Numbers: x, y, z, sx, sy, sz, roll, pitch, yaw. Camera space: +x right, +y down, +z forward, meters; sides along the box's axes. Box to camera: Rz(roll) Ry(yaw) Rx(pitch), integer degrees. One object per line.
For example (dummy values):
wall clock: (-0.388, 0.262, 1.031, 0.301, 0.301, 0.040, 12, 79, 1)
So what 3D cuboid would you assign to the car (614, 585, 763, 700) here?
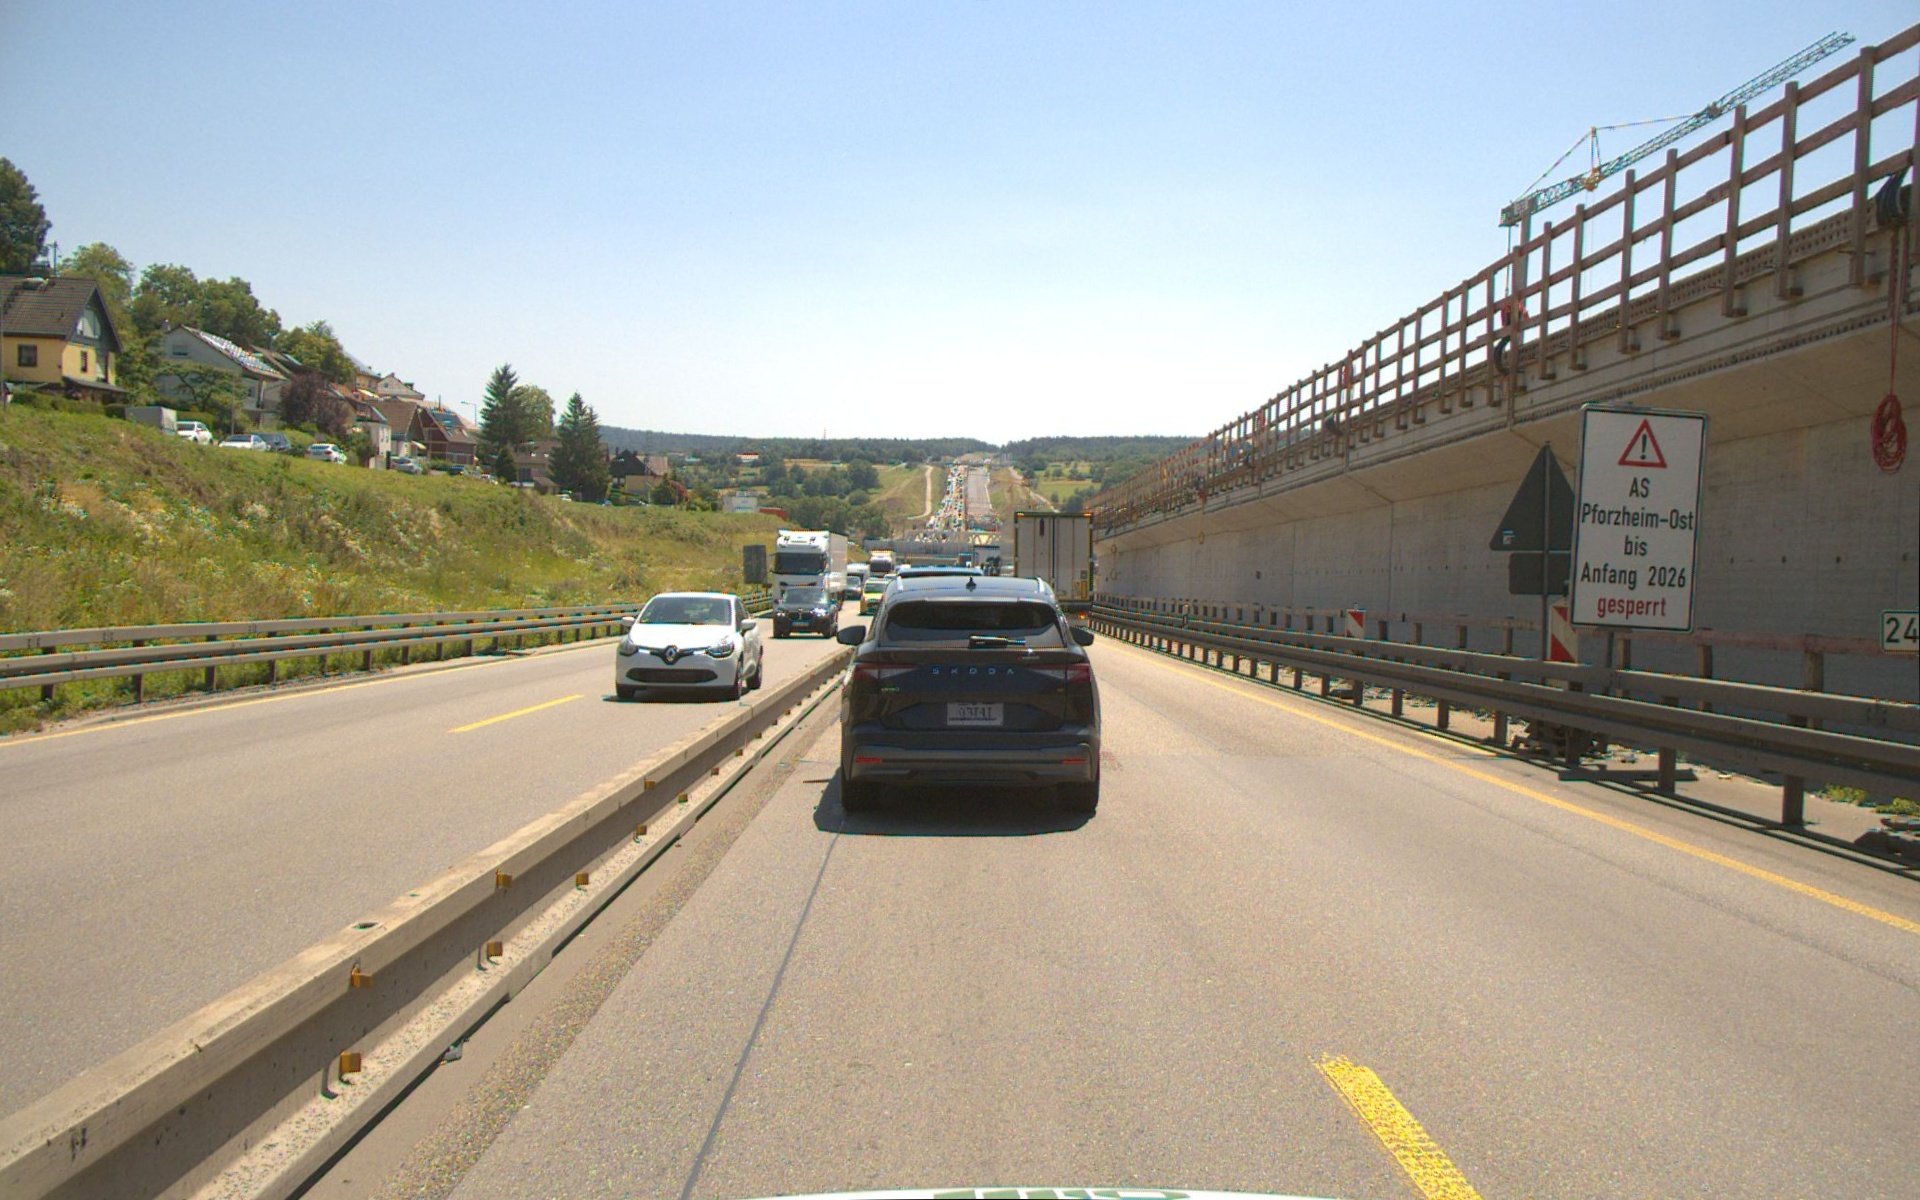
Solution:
car: (-3.835, 0.562, 23.913, 1.657, 1.512, 3.748, 1, 0, -2)

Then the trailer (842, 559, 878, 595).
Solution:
trailer: (-7.754, -1.803, 129.314, 2.434, 2.659, 5.867, 0, -1, 0)

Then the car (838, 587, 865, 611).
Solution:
car: (-7.904, -0.050, 120.913, 1.712, 1.612, 3.999, 4, -1, -1)

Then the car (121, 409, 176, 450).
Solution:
car: (-36.895, -7.739, 75.266, 1.702, 1.422, 3.780, 3, 0, -19)

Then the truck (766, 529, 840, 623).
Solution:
truck: (-7.557, -1.083, 80.318, 3.116, 4.312, 6.482, 1, -1, -2)

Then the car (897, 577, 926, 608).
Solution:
car: (-3.268, -0.475, 111.641, 1.825, 2.049, 4.804, 1, -1, -1)

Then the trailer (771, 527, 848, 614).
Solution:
trailer: (-7.772, -1.471, 87.055, 3.155, 4.231, 13.403, 0, 0, -2)

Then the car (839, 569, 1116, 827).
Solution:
car: (0.055, 0.623, 12.405, 1.747, 1.625, 3.754, 1, 0, -2)

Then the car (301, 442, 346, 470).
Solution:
car: (-41.181, -9.319, 107.103, 1.958, 1.342, 3.989, 4, -1, -12)

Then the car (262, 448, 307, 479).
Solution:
car: (-39.081, -7.895, 95.773, 1.562, 1.444, 3.990, 1, 0, -10)

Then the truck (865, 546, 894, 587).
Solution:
truck: (-8.920, -3.686, 183.837, 2.697, 4.301, 8.099, 1, 1, 0)

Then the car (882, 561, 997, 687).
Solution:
car: (-0.417, 0.384, 28.304, 1.715, 1.928, 3.753, 3, 0, -3)

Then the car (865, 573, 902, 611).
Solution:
car: (-3.878, -0.409, 84.653, 1.739, 1.852, 4.433, 1, 0, -1)

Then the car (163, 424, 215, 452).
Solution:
car: (-37.203, -7.801, 79.881, 1.255, 1.057, 3.270, 1, 0, -6)

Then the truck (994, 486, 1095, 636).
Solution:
truck: (2.802, -1.182, 58.528, 2.788, 4.696, 11.809, 2, -1, 0)

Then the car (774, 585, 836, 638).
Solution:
car: (-4.826, 0.332, 51.917, 1.665, 1.588, 4.102, 1, 0, -1)

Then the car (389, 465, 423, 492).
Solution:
car: (-42.394, -9.295, 126.591, 1.891, 1.758, 3.989, 1, 0, -11)
